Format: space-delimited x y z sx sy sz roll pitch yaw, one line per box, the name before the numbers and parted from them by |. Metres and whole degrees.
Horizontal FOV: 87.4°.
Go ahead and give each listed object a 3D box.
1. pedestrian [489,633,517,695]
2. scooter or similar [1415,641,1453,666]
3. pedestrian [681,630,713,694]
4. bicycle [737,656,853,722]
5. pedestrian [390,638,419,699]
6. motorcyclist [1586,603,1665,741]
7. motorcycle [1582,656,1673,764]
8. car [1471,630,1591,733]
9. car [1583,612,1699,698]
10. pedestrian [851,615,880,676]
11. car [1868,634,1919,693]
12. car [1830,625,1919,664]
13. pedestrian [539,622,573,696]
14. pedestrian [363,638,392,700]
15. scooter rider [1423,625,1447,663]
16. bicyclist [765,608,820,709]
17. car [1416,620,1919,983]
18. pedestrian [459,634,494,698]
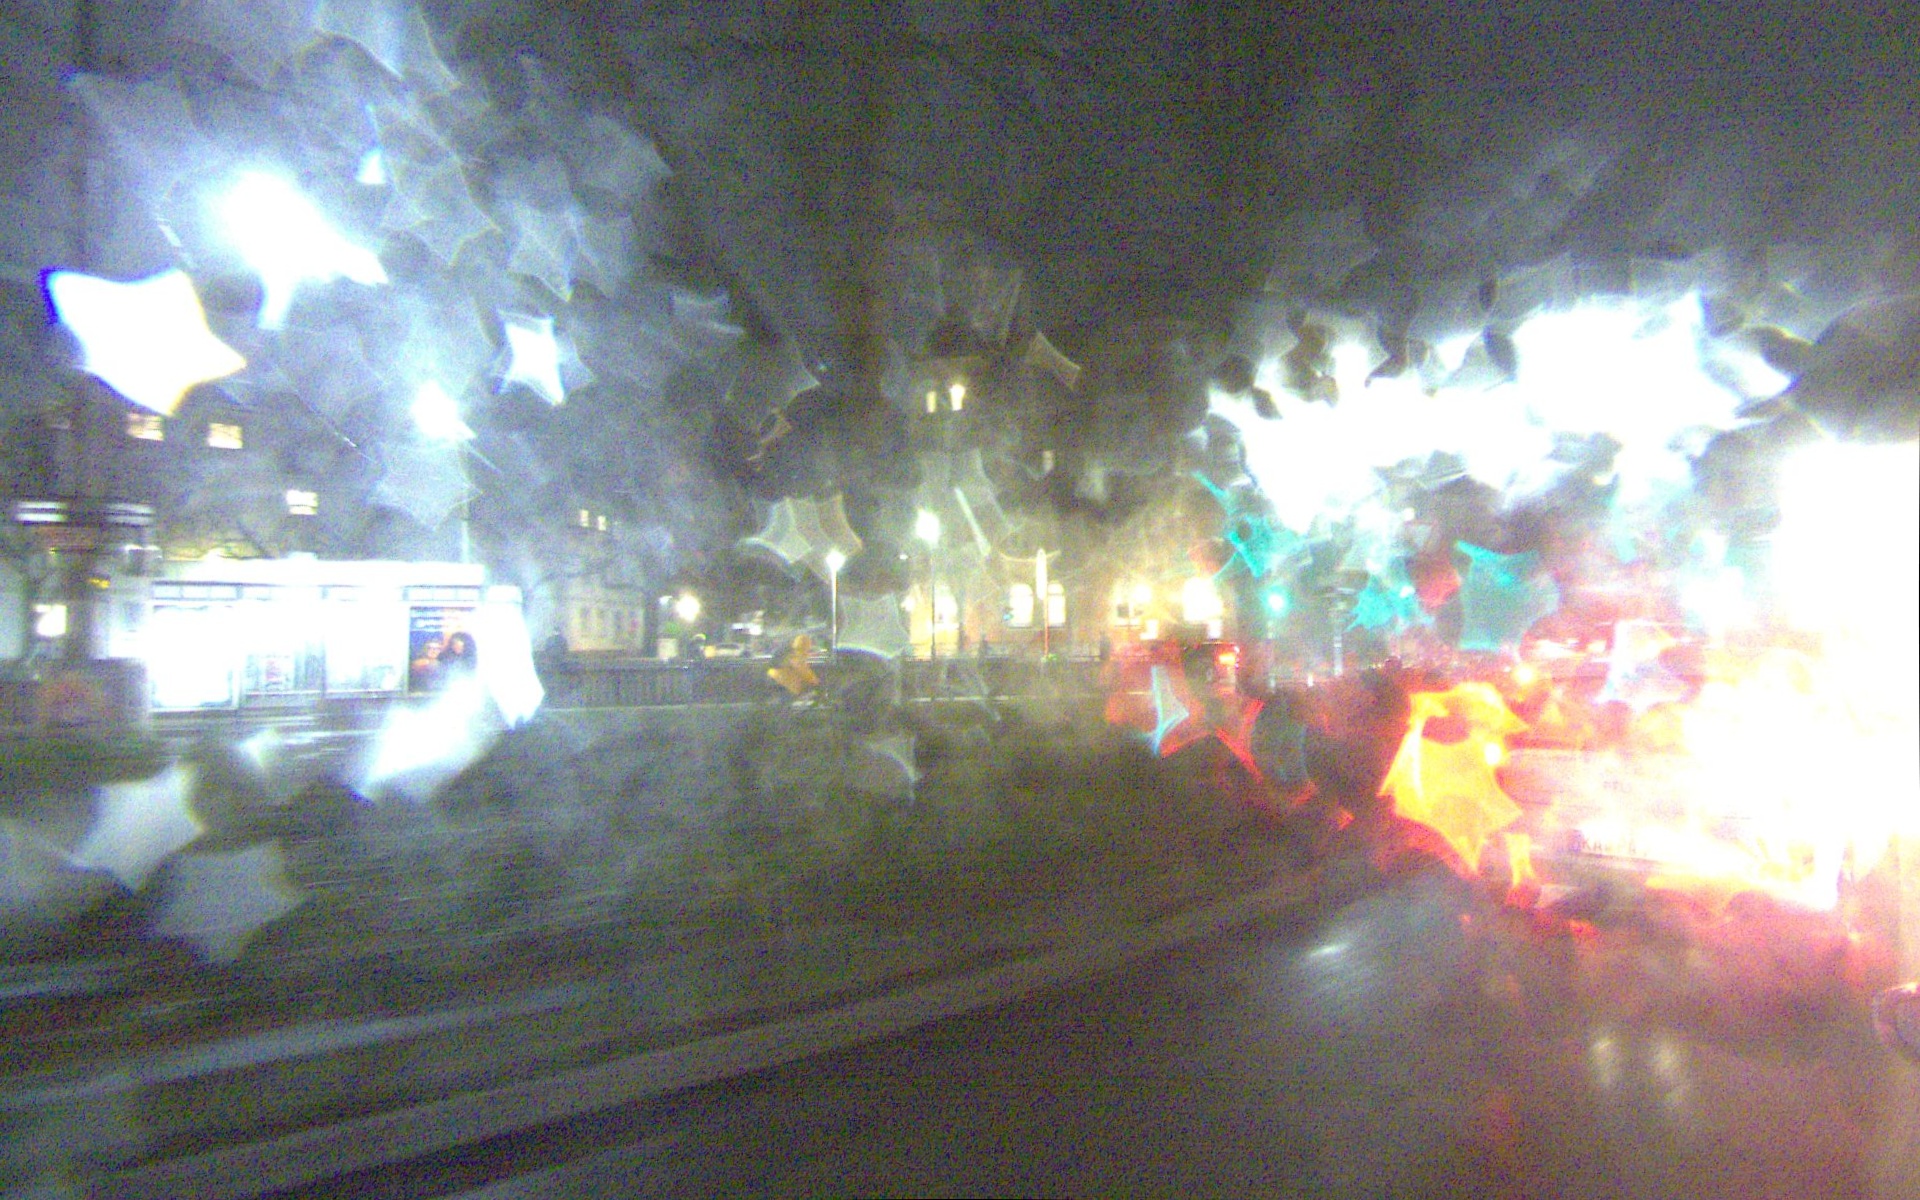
pedestrian | -12.411 1.736 27.295 0.392 1.651 0.532 1 0 26
scooter or similar | 20.462 2.305 43.331 1.344 1.066 0.641 1 0 -10
pedestrian | -7.653 1.799 29.235 0.709 1.798 0.665 1 0 -30
bicycle | -2.621 1.407 15.933 1.750 0.982 0.571 1 0 -14
pedestrian | -14.672 1.797 26.518 0.581 1.548 0.474 1 0 -38
motorcyclist | 8.649 0.914 13.090 0.777 1.717 0.819 0 -2 29
motorcycle | 8.667 1.372 13.123 0.777 1.228 2.247 0 -2 28
car | 11.105 1.515 19.753 1.721 1.762 3.796 1 -2 25
car | 21.375 1.642 31.422 2.193 2.474 5.353 -1 -2 43
pedestrian | -2.863 1.374 30.418 0.661 1.798 0.714 1 0 -21
car | 27.112 1.712 27.653 3.528 1.544 1.646 0 -6 -22
car | 49.234 2.351 53.653 5.230 1.850 1.990 0 1 -22
pedestrian | -11.255 1.637 27.977 0.847 2.013 0.606 1 0 -24
pedestrian | -15.142 1.777 26.128 0.570 1.568 0.506 1 0 -38
scooter rider | 20.483 1.908 43.332 0.641 1.594 0.641 1 0 -10
bicyclist | -2.662 0.919 15.926 0.802 1.568 0.571 1 0 -14
car | 4.544 0.923 6.210 3.572 1.536 1.901 1 -3 -43
pedestrian | -12.888 1.748 26.778 0.574 1.674 0.559 1 0 26
